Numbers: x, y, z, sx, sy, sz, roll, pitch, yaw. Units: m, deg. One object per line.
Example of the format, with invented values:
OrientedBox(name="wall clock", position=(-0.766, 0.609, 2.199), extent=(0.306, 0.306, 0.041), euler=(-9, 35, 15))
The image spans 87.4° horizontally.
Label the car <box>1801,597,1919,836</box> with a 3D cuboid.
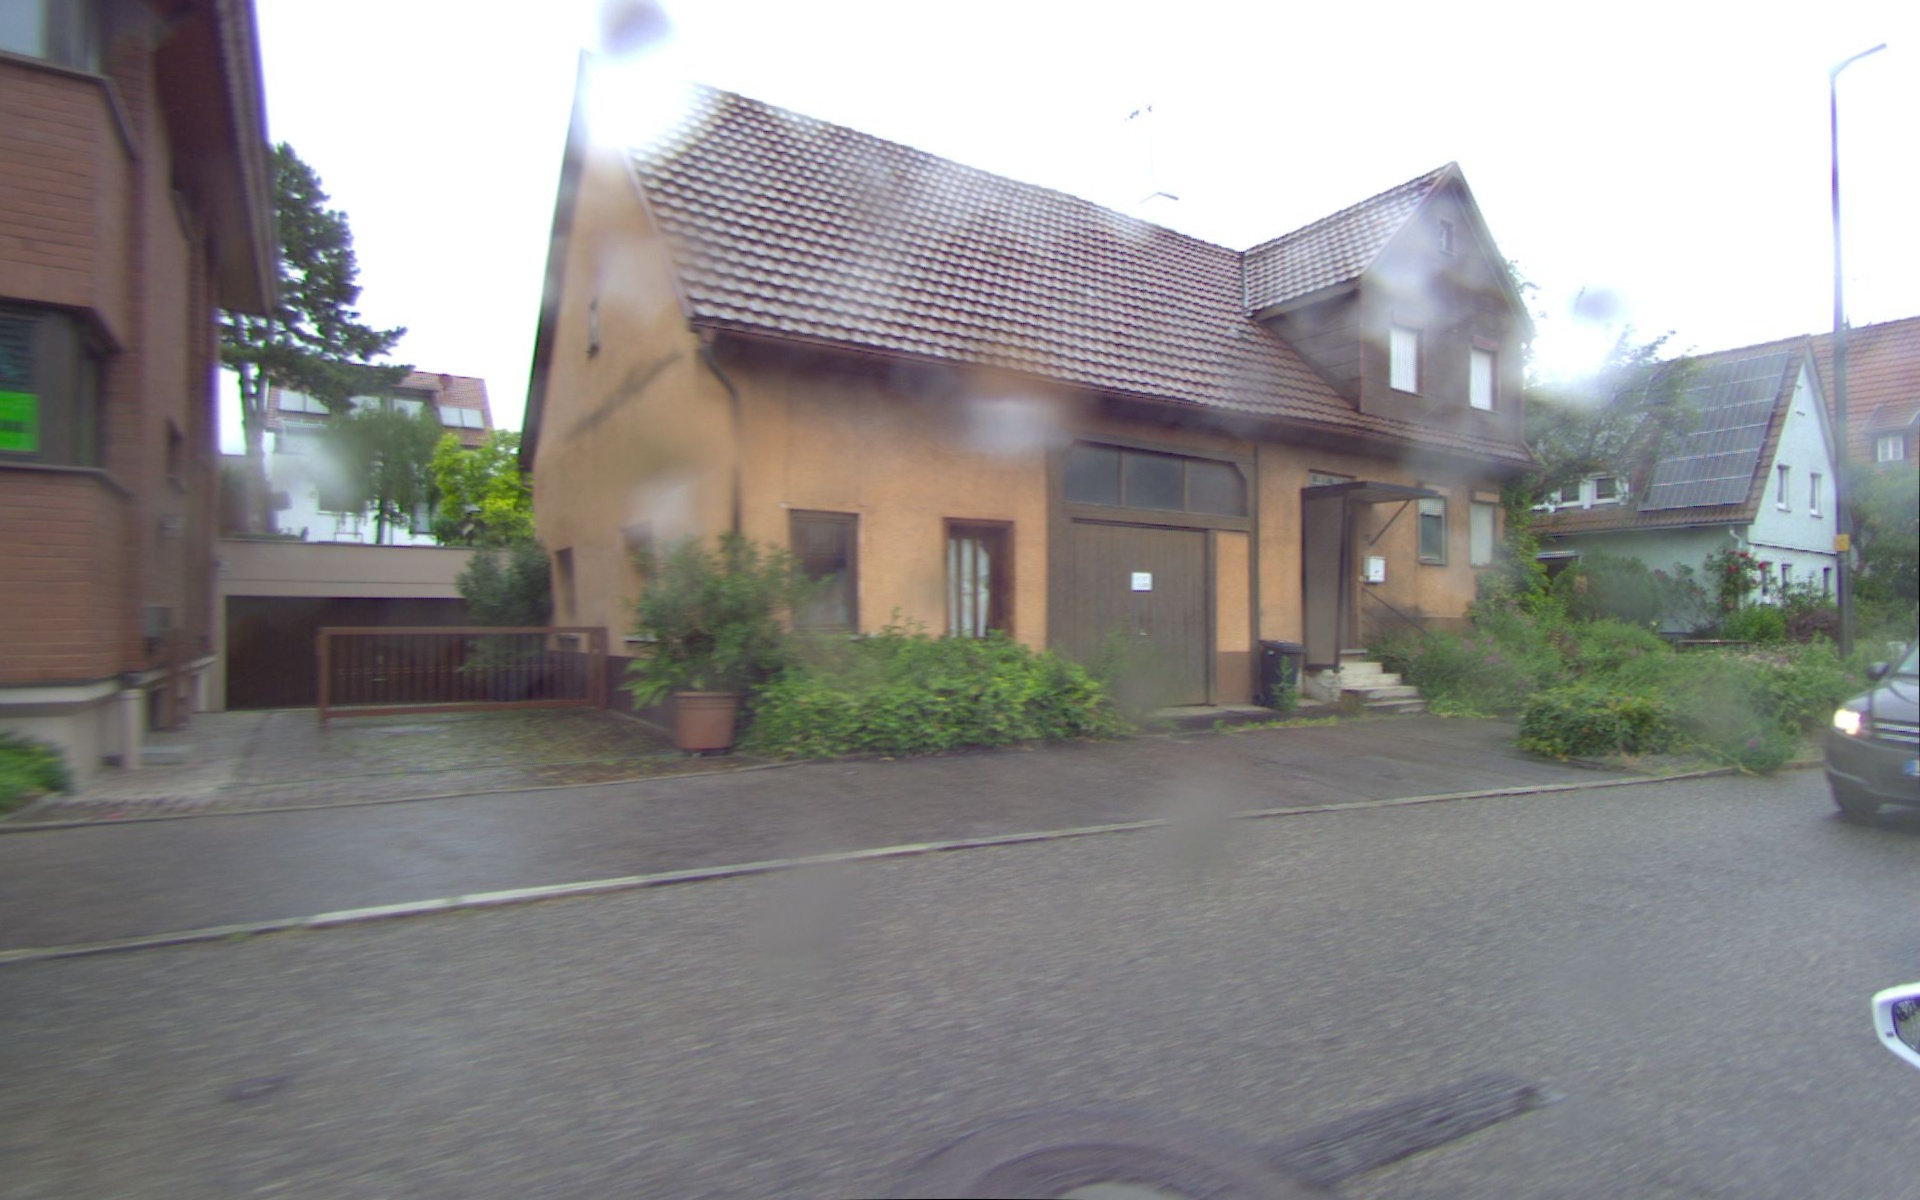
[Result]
OrientedBox(name="car", position=(8.454, 0.855, 7.902), extent=(3.958, 1.662, 1.787), euler=(2, -2, -34))
